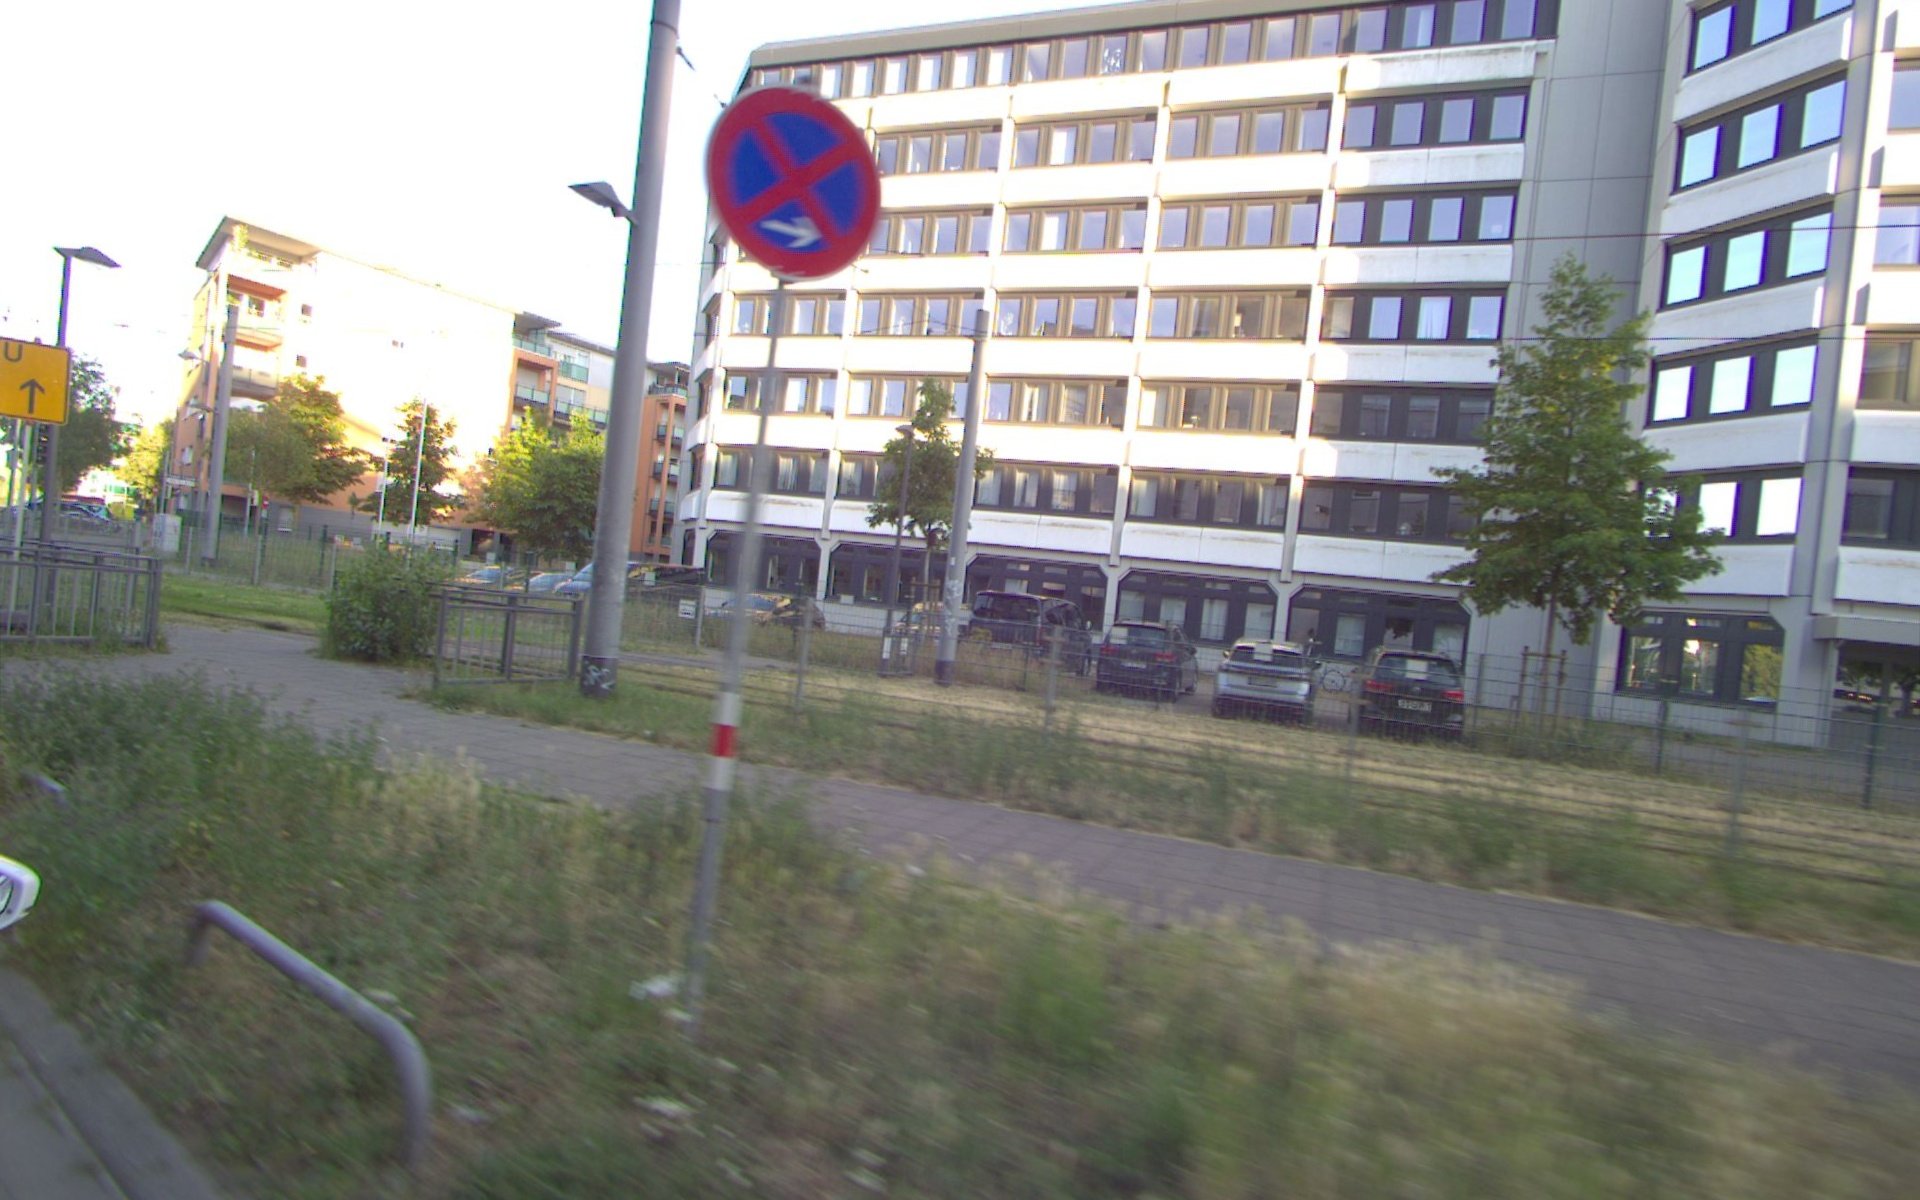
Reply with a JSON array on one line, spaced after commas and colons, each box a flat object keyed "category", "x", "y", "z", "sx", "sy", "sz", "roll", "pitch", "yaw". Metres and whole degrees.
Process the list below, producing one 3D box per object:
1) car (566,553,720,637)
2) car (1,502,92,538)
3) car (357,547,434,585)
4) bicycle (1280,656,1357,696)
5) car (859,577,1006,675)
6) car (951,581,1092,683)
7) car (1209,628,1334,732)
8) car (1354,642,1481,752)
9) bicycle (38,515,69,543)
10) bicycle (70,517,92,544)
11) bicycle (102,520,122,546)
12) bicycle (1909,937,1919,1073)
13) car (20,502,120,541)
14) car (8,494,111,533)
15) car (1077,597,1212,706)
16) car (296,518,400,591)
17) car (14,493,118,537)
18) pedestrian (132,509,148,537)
[{"category": "car", "x": -9.140, "y": -0.086, "z": 29.363, "sx": 1.964, "sy": 2.038, "sz": 3.997, "roll": 6, "pitch": -1, "yaw": 25}, {"category": "car", "x": -52.654, "y": -4.587, "z": 58.060, "sx": 3.761, "sy": 1.513, "sz": 1.521, "roll": 7, "pitch": -3, "yaw": -44}, {"category": "car", "x": -31.576, "y": -1.915, "z": 56.236, "sx": 4.744, "sy": 1.614, "sz": 1.992, "roll": 6, "pitch": -1, "yaw": 38}, {"category": "bicycle", "x": 11.291, "y": 2.388, "z": 31.723, "sx": 2.174, "sy": 0.962, "sz": 0.814, "roll": 6, "pitch": 0, "yaw": 21}, {"category": "car", "x": -0.572, "y": 0.692, "z": 24.728, "sx": 1.964, "sy": 2.038, "sz": 3.999, "roll": 6, "pitch": -1, "yaw": 23}, {"category": "car", "x": 1.560, "y": 0.801, "z": 23.852, "sx": 1.964, "sy": 2.038, "sz": 3.999, "roll": 6, "pitch": -1, "yaw": 23}, {"category": "car", "x": 6.165, "y": 1.511, "z": 19.552, "sx": 1.784, "sy": 1.612, "sz": 4.405, "roll": 6, "pitch": -1, "yaw": 23}, {"category": "car", "x": 8.375, "y": 1.721, "z": 18.629, "sx": 1.784, "sy": 1.612, "sz": 3.999, "roll": 6, "pitch": -1, "yaw": 23}, {"category": "bicycle", "x": -44.223, "y": -3.475, "z": 49.062, "sx": 1.869, "sy": 1.168, "sz": 0.716, "roll": 8, "pitch": 3, "yaw": 37}, {"category": "bicycle", "x": -43.510, "y": -3.447, "z": 49.785, "sx": 0.676, "sy": 1.168, "sz": 1.903, "roll": 3, "pitch": 4, "yaw": -44}, {"category": "bicycle", "x": -42.943, "y": -3.416, "z": 50.945, "sx": 0.528, "sy": 1.140, "sz": 1.937, "roll": 8, "pitch": 0, "yaw": -44}, {"category": "bicycle", "x": 4.357, "y": 1.215, "z": 3.163, "sx": 1.900, "sy": 1.149, "sz": 0.539, "roll": 6, "pitch": 0, "yaw": 43}, {"category": "car", "x": -46.954, "y": -4.146, "z": 53.137, "sx": 1.591, "sy": 1.491, "sz": 3.743, "roll": 6, "pitch": -1, "yaw": 42}, {"category": "car", "x": -48.637, "y": -4.663, "z": 54.387, "sx": 4.034, "sy": 1.589, "sz": 1.653, "roll": 5, "pitch": 1, "yaw": -43}, {"category": "car", "x": 4.272, "y": 1.175, "z": 22.674, "sx": 1.964, "sy": 2.038, "sz": 4.274, "roll": 6, "pitch": -1, "yaw": 23}, {"category": "car", "x": -20.119, "y": -1.524, "z": 33.008, "sx": 1.987, "sy": 2.038, "sz": 3.951, "roll": 6, "pitch": 0, "yaw": -44}, {"category": "car", "x": -58.501, "y": -5.556, "z": 65.945, "sx": 4.901, "sy": 2.143, "sz": 1.993, "roll": 7, "pitch": 0, "yaw": -42}, {"category": "pedestrian", "x": -54.508, "y": -5.110, "z": 66.846, "sx": 0.666, "sy": 1.765, "sz": 0.691, "roll": 5, "pitch": 1, "yaw": -43}]
